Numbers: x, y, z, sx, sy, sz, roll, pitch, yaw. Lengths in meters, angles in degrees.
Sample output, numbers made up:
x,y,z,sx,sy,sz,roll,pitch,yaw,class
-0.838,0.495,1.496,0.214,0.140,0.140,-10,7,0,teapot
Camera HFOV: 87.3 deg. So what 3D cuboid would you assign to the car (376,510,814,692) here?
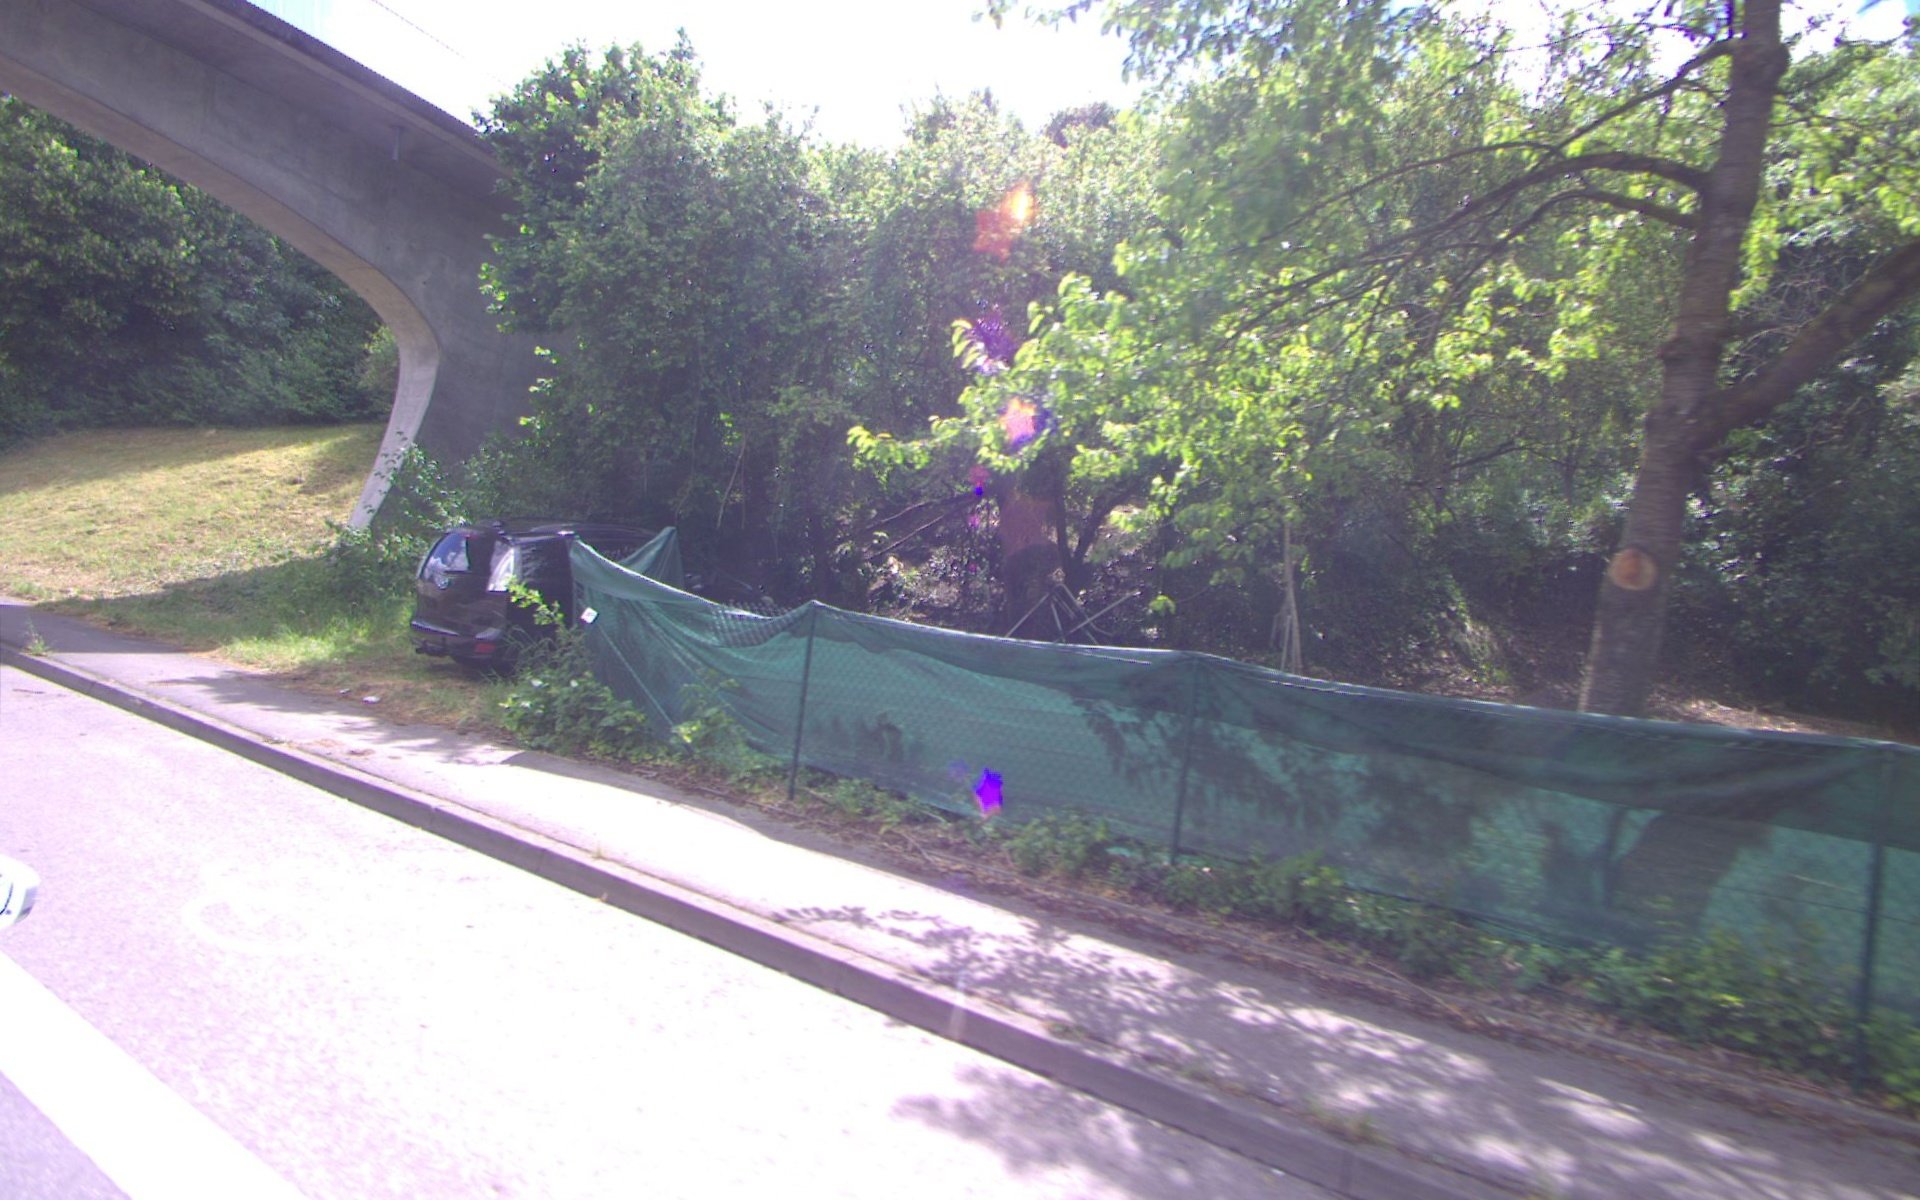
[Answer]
x,y,z,sx,sy,sz,roll,pitch,yaw,class
-4.050,0.055,11.929,1.969,1.693,4.523,5,0,34,car
